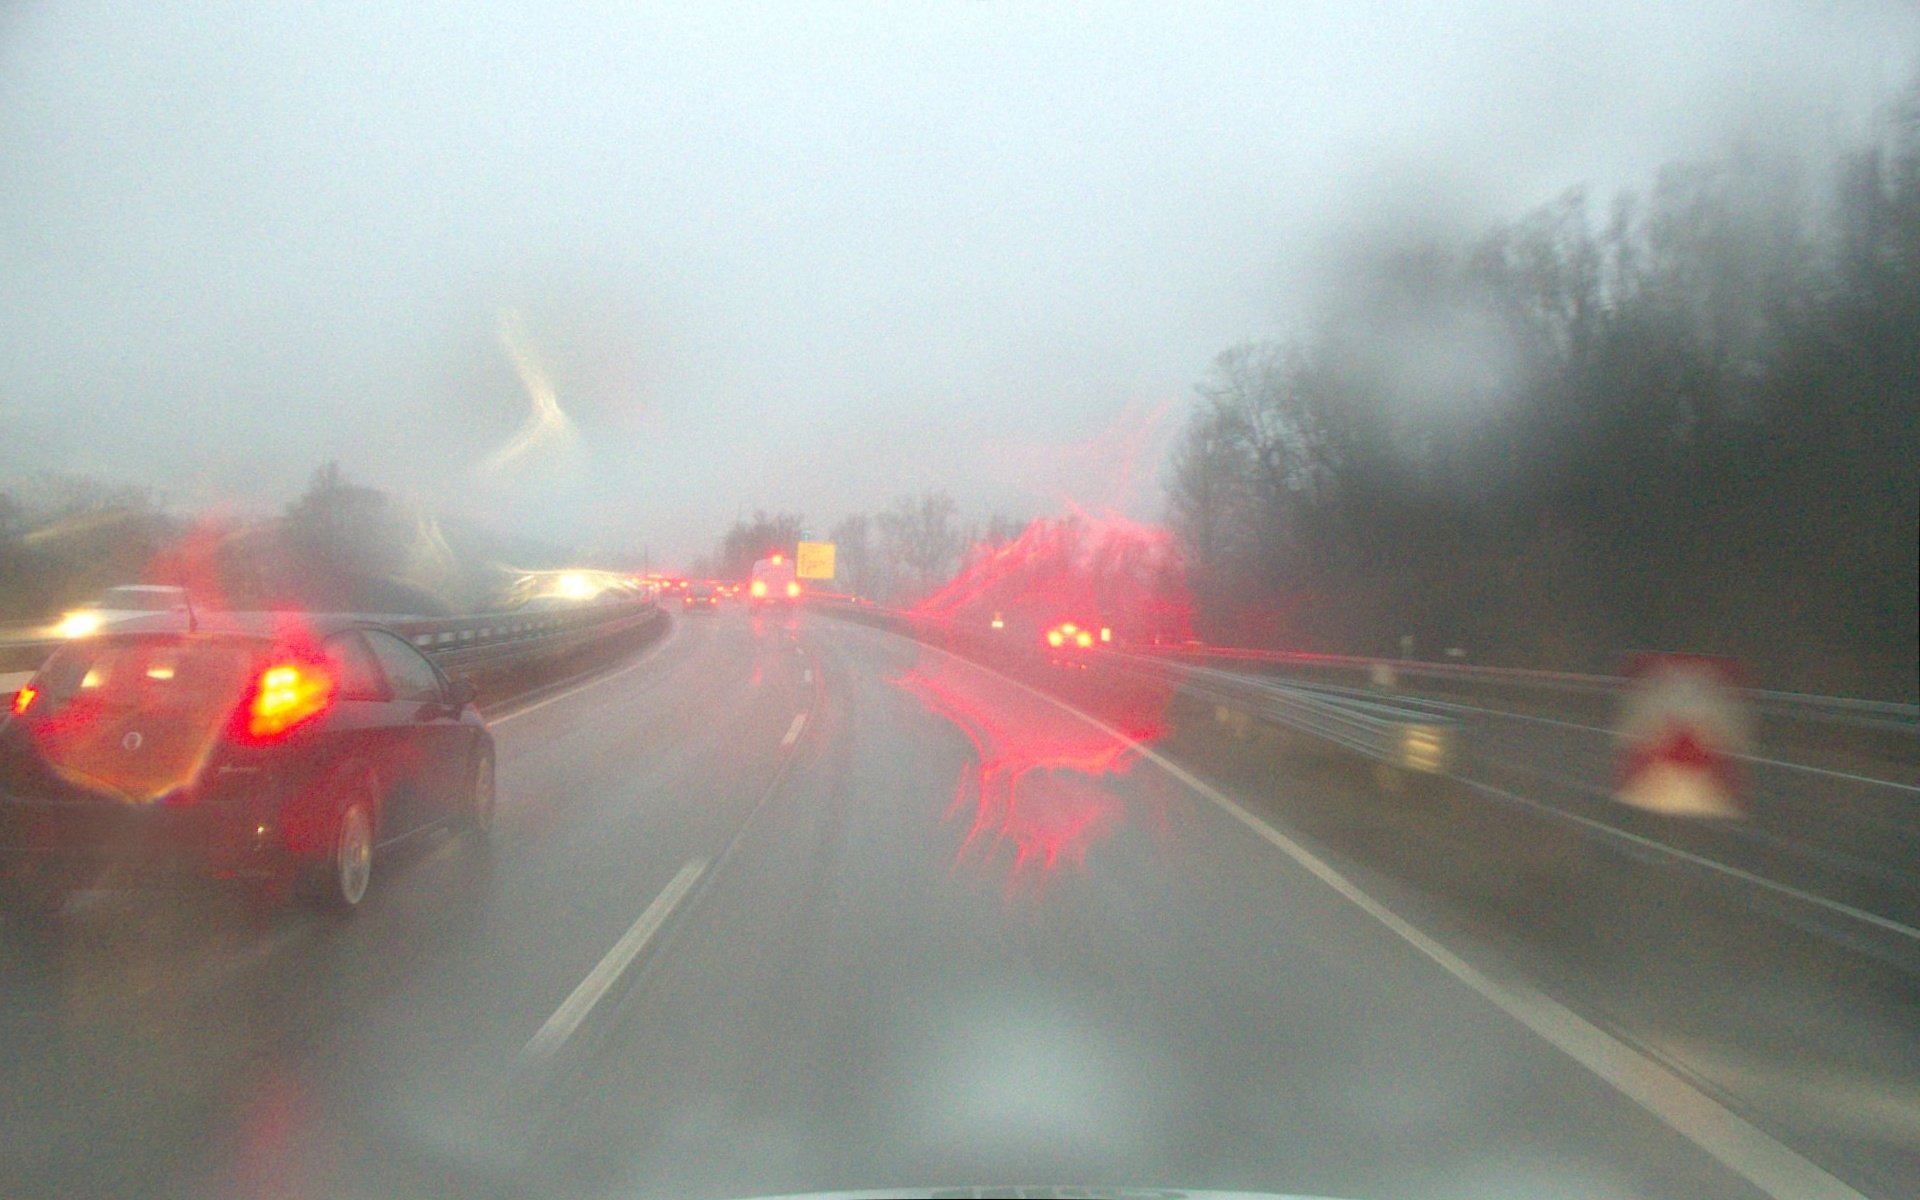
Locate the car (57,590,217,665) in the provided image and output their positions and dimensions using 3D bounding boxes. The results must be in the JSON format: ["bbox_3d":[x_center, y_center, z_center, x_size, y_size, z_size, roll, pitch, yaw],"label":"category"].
[{"bbox_3d":[-16.756,0.534,33.887,1.639,1.445,4.075,0,0,-7],"label":"car"}]

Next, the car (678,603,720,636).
[{"bbox_3d":[-13.454,1.014,85.058,1.803,1.564,3.986,2,-2,-13],"label":"car"}]

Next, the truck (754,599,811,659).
[{"bbox_3d":[-9.266,1.561,86.102,2.342,2.960,4.657,1,-3,-13],"label":"truck"}]

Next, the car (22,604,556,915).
[{"bbox_3d":[-3.601,0.749,9.690,1.593,1.416,3.998,1,0,-2],"label":"car"}]
